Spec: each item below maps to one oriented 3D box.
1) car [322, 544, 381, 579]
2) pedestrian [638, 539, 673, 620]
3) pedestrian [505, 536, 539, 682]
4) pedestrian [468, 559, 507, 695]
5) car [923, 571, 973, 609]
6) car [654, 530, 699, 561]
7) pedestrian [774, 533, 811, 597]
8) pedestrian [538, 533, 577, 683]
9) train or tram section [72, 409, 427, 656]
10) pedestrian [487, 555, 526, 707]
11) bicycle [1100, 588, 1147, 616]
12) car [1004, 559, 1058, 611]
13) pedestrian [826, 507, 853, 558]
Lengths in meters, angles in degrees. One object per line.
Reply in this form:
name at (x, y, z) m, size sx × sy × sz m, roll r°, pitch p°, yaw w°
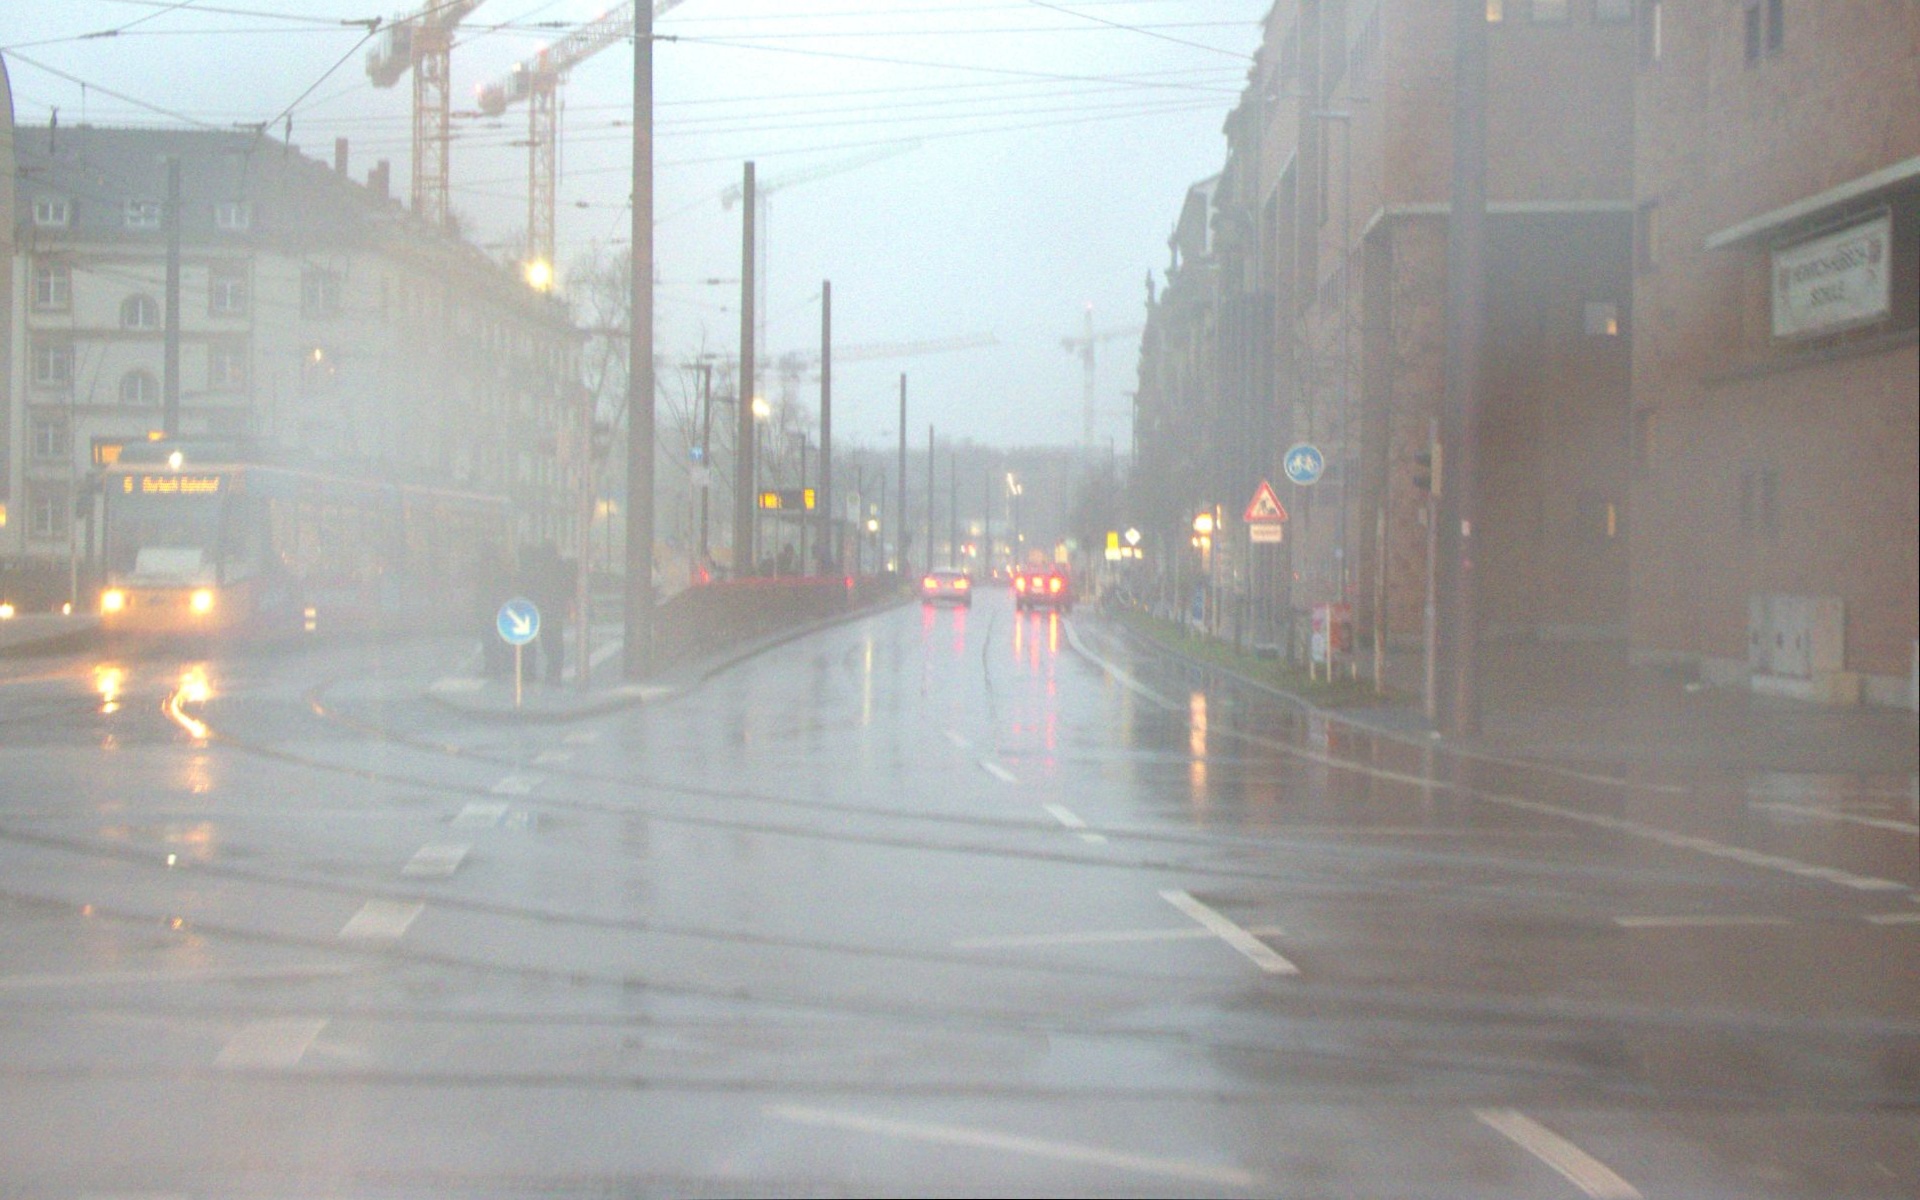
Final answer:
car at (-24.316, -1.546, 137.397) m, size 1.682 × 1.349 × 3.546 m, roll 2°, pitch 1°, yaw 0°
pedestrian at (-5.995, -0.402, 67.767) m, size 0.618 × 1.584 × 0.622 m, roll 1°, pitch 1°, yaw -1°
pedestrian at (-5.393, 0.108, 42.329) m, size 0.359 × 1.780 × 0.440 m, roll 1°, pitch 1°, yaw -4°
pedestrian at (-6.081, 0.338, 44.241) m, size 0.433 × 1.729 × 0.473 m, roll 1°, pitch 1°, yaw -4°
car at (-0.460, -0.411, 137.122) m, size 1.784 × 1.462 × 3.148 m, roll 1°, pitch 1°, yaw 3°
car at (-12.886, -2.467, 156.300) m, size 1.682 × 1.349 × 3.546 m, roll 2°, pitch 1°, yaw 0°
pedestrian at (-4.504, -0.950, 92.504) m, size 0.776 × 1.698 × 0.773 m, roll 1°, pitch 1°, yaw -17°
pedestrian at (-4.992, 0.098, 42.690) m, size 0.412 × 1.839 × 0.670 m, roll 1°, pitch 1°, yaw -4°
train or tram section at (-11.587, -1.108, 57.587) m, size 2.950 × 3.576 × 12.255 m, roll 2°, pitch 1°, yaw 2°
pedestrian at (-5.897, 0.396, 44.733) m, size 0.433 × 1.960 × 0.473 m, roll 1°, pitch 1°, yaw -4°
bicycle at (6.089, 0.074, 128.338) m, size 1.730 × 1.051 × 0.371 m, roll -1°, pitch 1°, yaw 0°
car at (2.823, -0.618, 136.334) m, size 1.994 × 2.007 × 4.000 m, roll 1°, pitch 1°, yaw 3°
pedestrian at (-3.686, -2.063, 105.067) m, size 0.679 × 1.511 × 0.619 m, roll 1°, pitch 1°, yaw -11°
